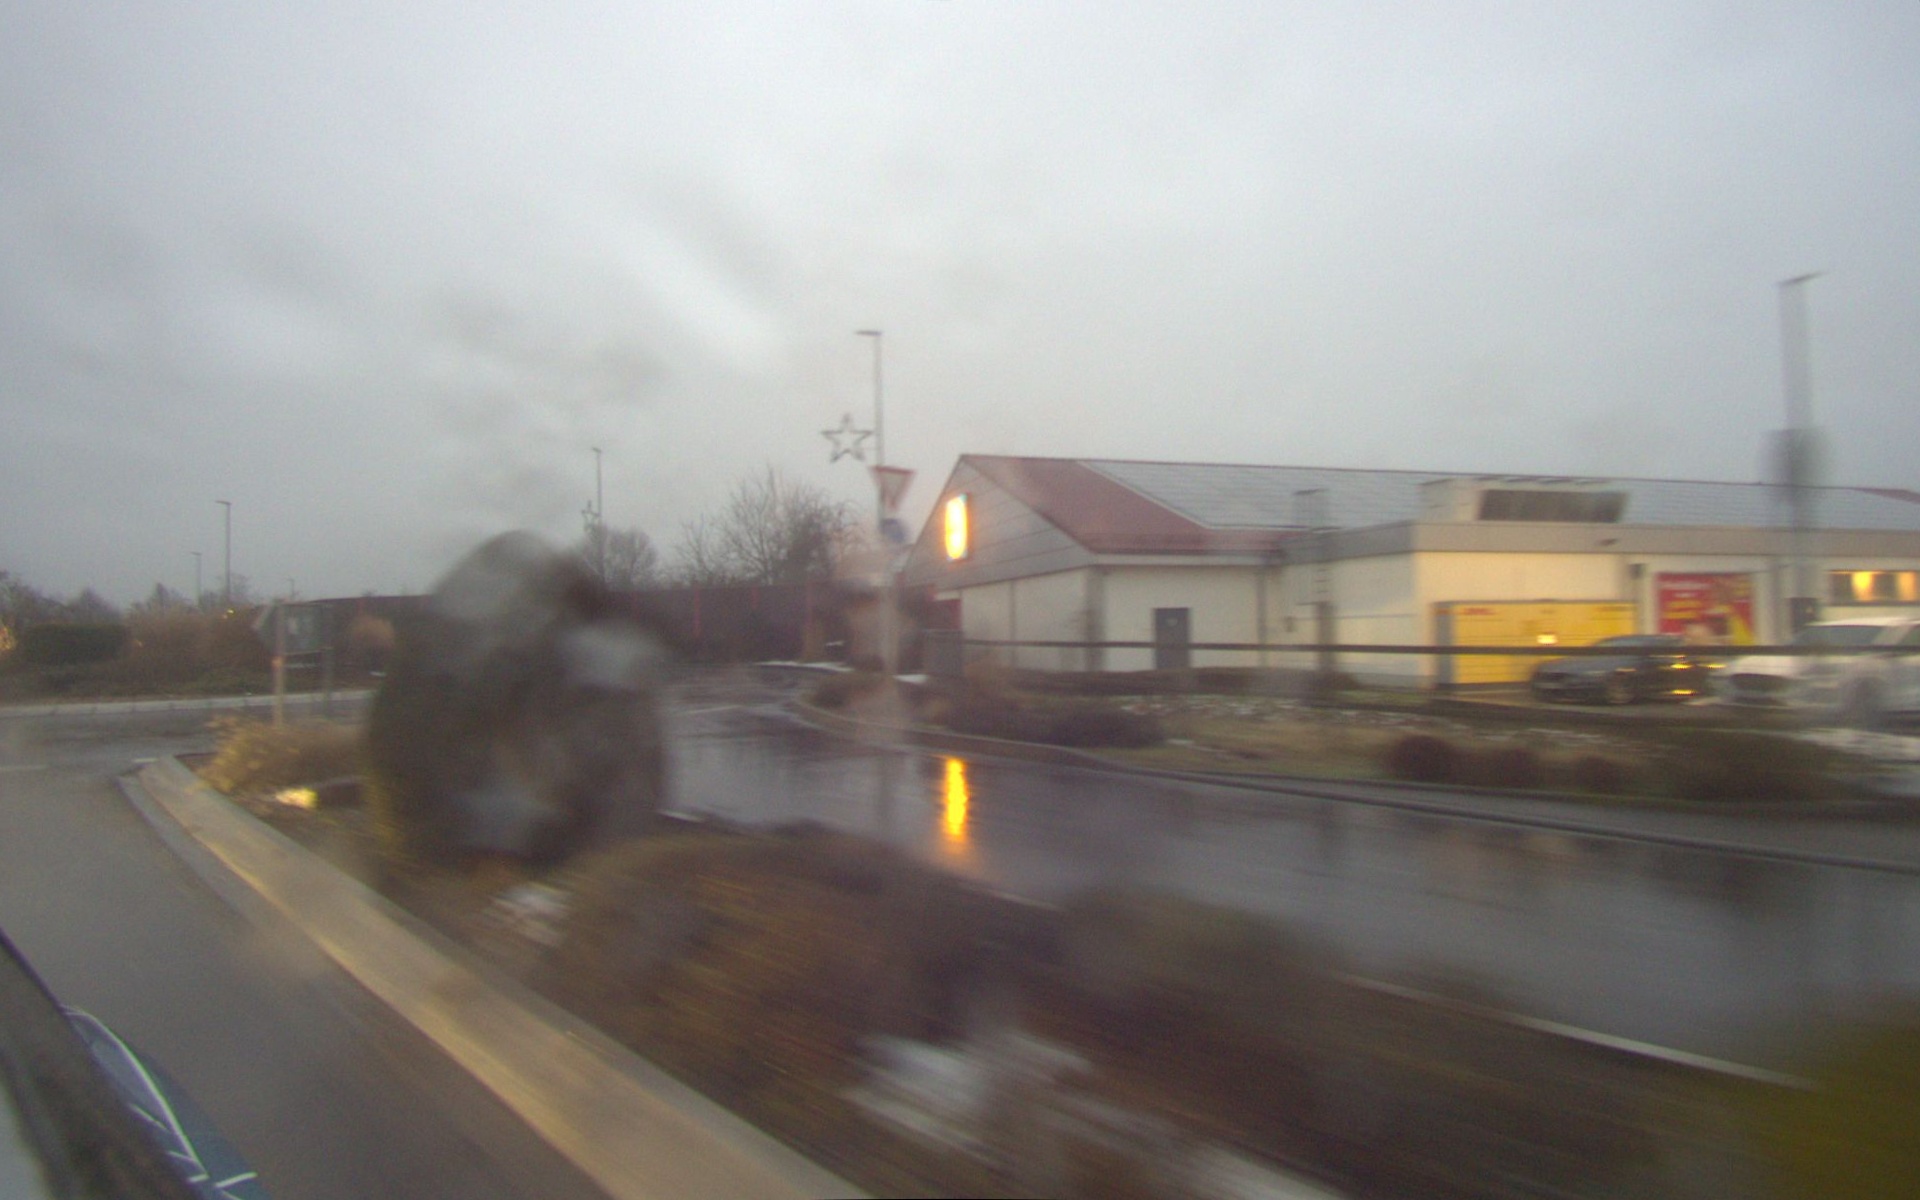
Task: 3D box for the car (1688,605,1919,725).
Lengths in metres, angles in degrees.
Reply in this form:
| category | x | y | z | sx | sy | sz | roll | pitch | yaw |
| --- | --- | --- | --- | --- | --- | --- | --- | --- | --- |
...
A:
| category | x | y | z | sx | sy | sz | roll | pitch | yaw |
| --- | --- | --- | --- | --- | --- | --- | --- | --- | --- |
| car | 13.940 | 0.917 | 15.703 | 4.208 | 1.573 | 2.071 | -2 | 0 | -15 |

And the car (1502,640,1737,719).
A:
| category | x | y | z | sx | sy | sz | roll | pitch | yaw |
| --- | --- | --- | --- | --- | --- | --- | --- | --- | --- |
| car | 13.479 | 1.574 | 20.753 | 3.932 | 1.321 | 1.847 | -2 | 0 | -15 |
